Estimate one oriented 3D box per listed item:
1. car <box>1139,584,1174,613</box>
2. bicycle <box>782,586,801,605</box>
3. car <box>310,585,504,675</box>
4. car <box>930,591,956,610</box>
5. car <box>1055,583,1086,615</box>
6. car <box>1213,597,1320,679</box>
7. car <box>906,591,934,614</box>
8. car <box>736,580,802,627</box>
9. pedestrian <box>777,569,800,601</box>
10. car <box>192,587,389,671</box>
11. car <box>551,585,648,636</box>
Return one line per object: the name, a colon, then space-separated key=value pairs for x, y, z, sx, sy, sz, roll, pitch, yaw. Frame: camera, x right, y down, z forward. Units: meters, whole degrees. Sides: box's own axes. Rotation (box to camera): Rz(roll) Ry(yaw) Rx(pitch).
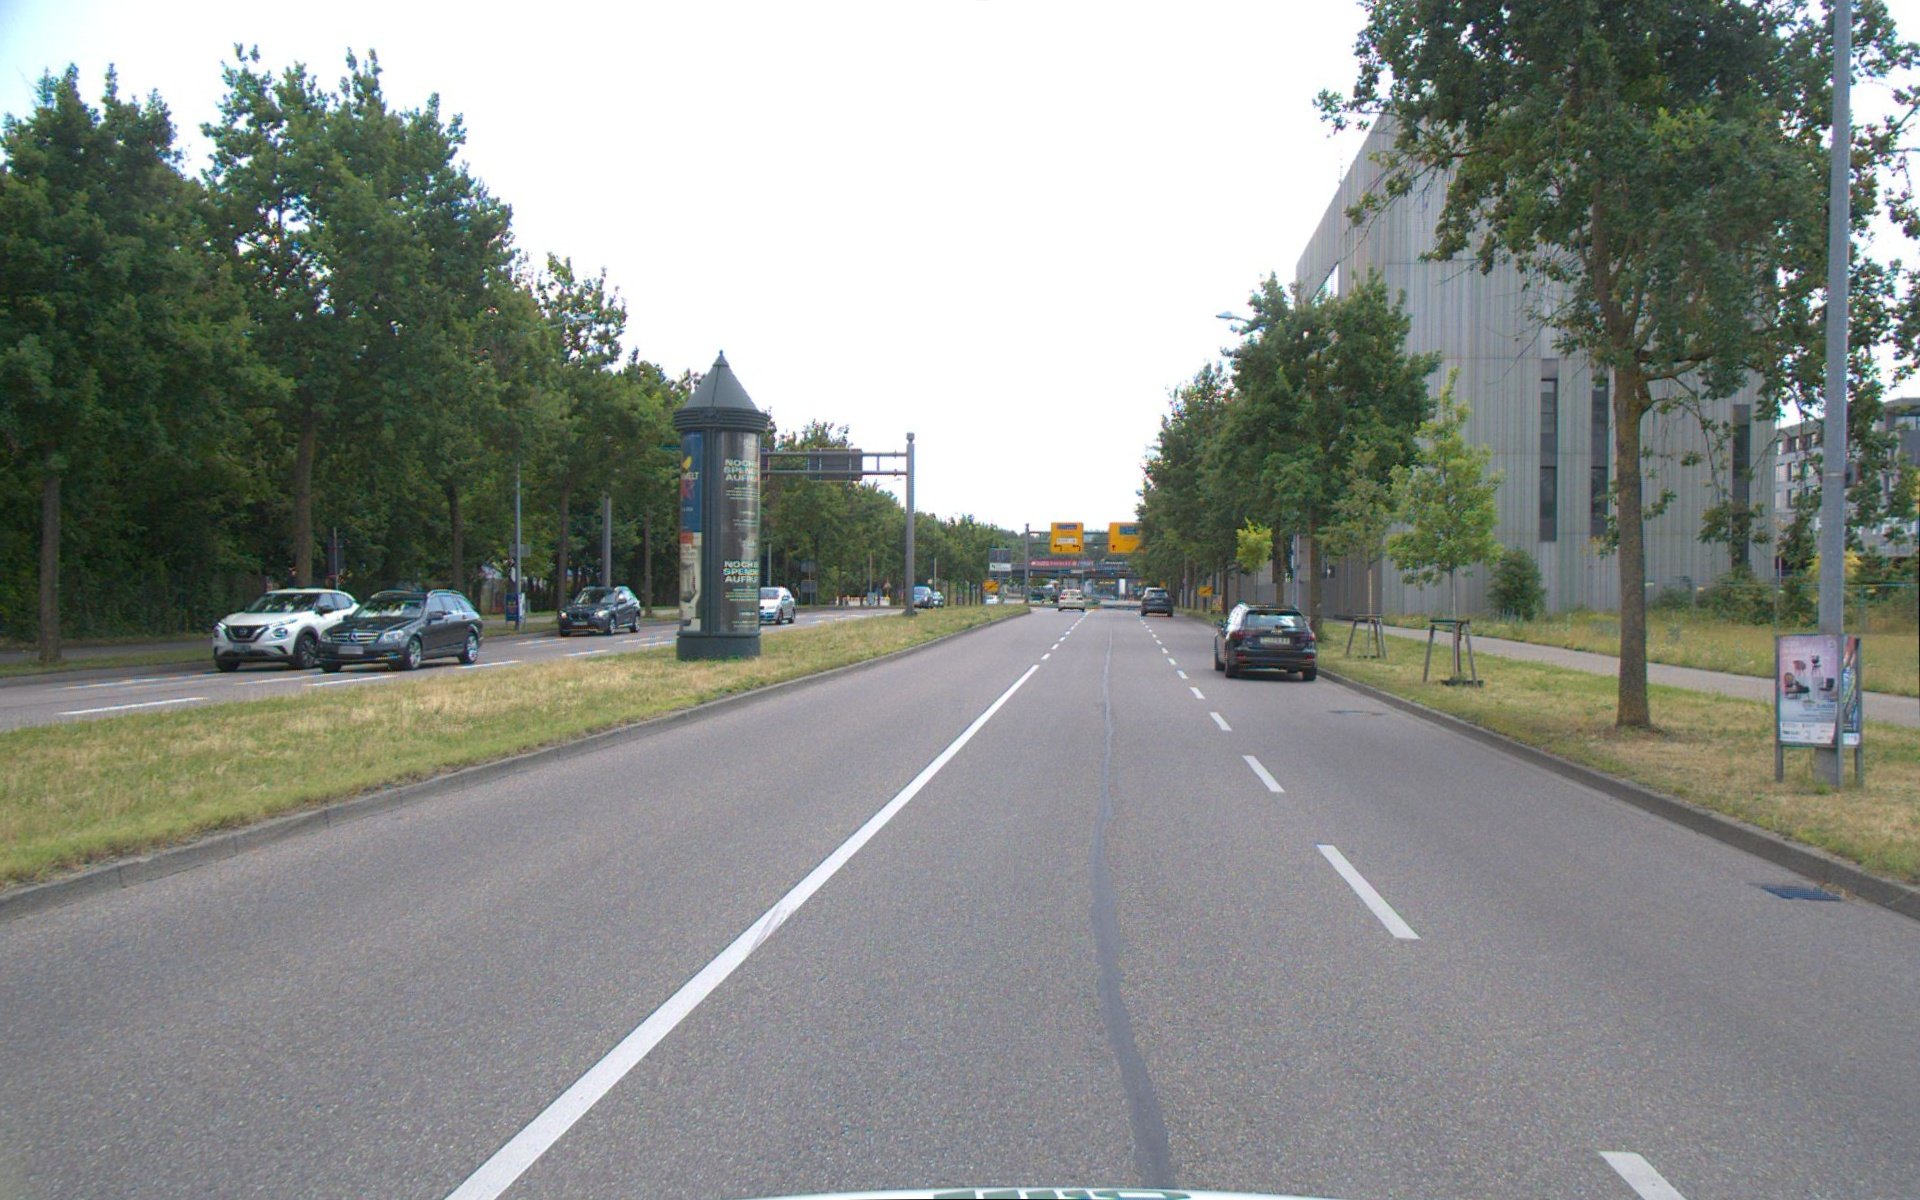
car: x=11.392 y=-0.102 z=96.042 sx=1.951 sy=1.654 sz=4.313 roll=1 pitch=1 yaw=7
bicycle: x=-11.437 y=-0.282 z=112.252 sx=0.790 sy=1.248 sz=2.503 roll=1 pitch=0 yaw=6
car: x=-10.621 y=0.519 z=32.184 sx=1.686 sy=1.618 sz=5.016 roll=0 pitch=0 yaw=5
car: x=-1.458 y=0.008 z=142.696 sx=1.704 sy=1.572 sz=4.576 roll=-1 pitch=0 yaw=6
car: x=7.303 y=-0.061 z=109.711 sx=1.952 sy=2.049 sz=4.001 roll=2 pitch=0 yaw=3
car: x=6.094 y=0.716 z=33.222 sx=1.648 sy=1.489 sz=4.002 roll=2 pitch=0 yaw=4
car: x=-2.881 y=0.153 z=119.631 sx=1.705 sy=1.596 sz=4.277 roll=-1 pitch=0 yaw=2
car: x=-7.522 y=0.165 z=65.473 sx=1.726 sy=1.465 sz=4.310 roll=0 pitch=-6 yaw=5
pedestrian: x=-11.594 y=-1.004 z=112.024 sx=0.950 sy=2.046 sz=1.250 roll=-10 pitch=-1 yaw=7
car: x=-13.331 y=0.532 z=33.254 sx=1.869 sy=1.567 sz=4.371 roll=0 pitch=0 yaw=5
car: x=-11.873 y=0.315 z=54.850 sx=1.726 sy=1.604 sz=5.034 roll=0 pitch=0 yaw=5
